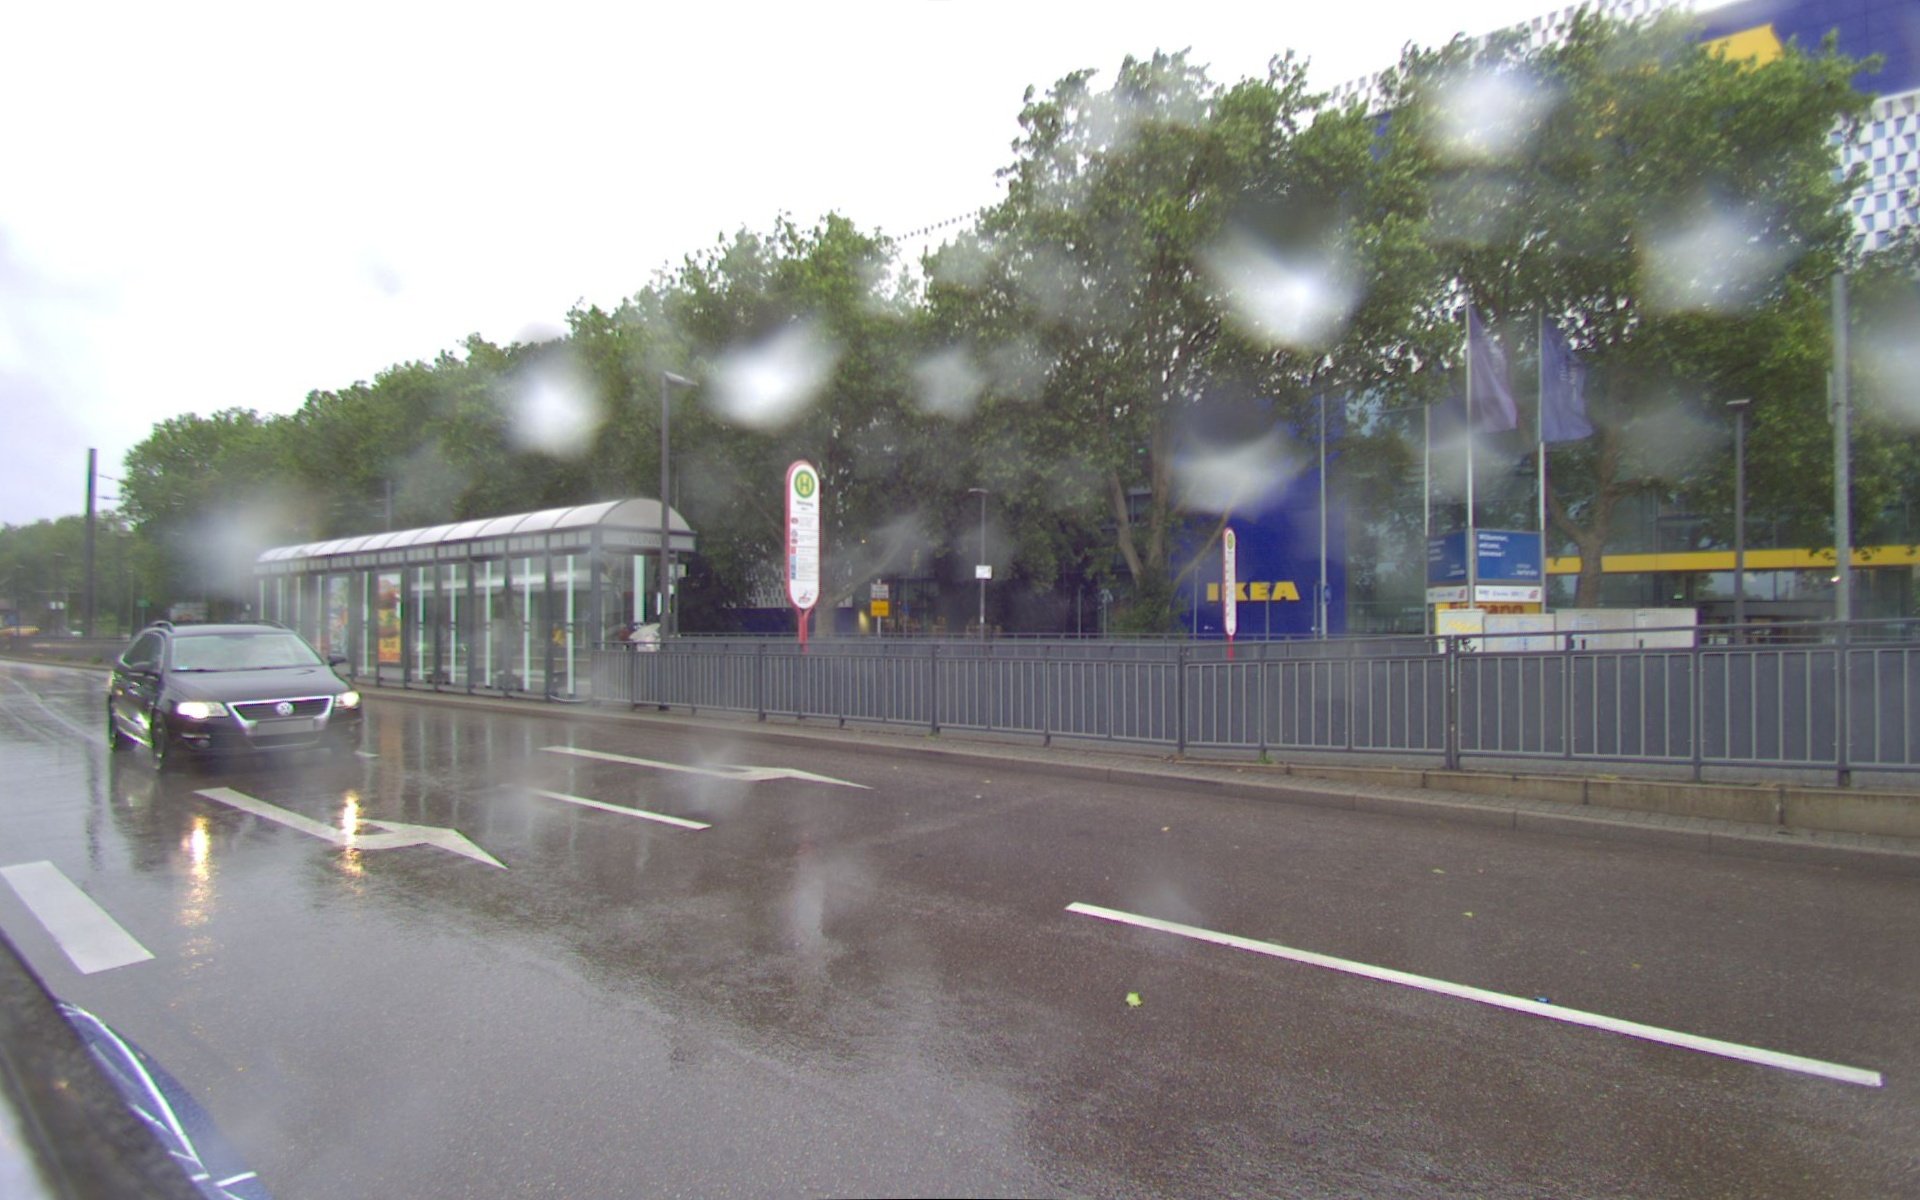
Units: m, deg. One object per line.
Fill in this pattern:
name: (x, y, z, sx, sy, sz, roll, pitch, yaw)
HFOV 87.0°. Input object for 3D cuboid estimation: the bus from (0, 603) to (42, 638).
bus: (-98.259, 2.041, 103.856, 15.030, 3.354, 2.905, -1, 0, 36)

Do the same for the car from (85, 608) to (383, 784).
car: (-8.075, 0.870, 11.065, 4.596, 1.512, 1.752, -1, 0, 43)
